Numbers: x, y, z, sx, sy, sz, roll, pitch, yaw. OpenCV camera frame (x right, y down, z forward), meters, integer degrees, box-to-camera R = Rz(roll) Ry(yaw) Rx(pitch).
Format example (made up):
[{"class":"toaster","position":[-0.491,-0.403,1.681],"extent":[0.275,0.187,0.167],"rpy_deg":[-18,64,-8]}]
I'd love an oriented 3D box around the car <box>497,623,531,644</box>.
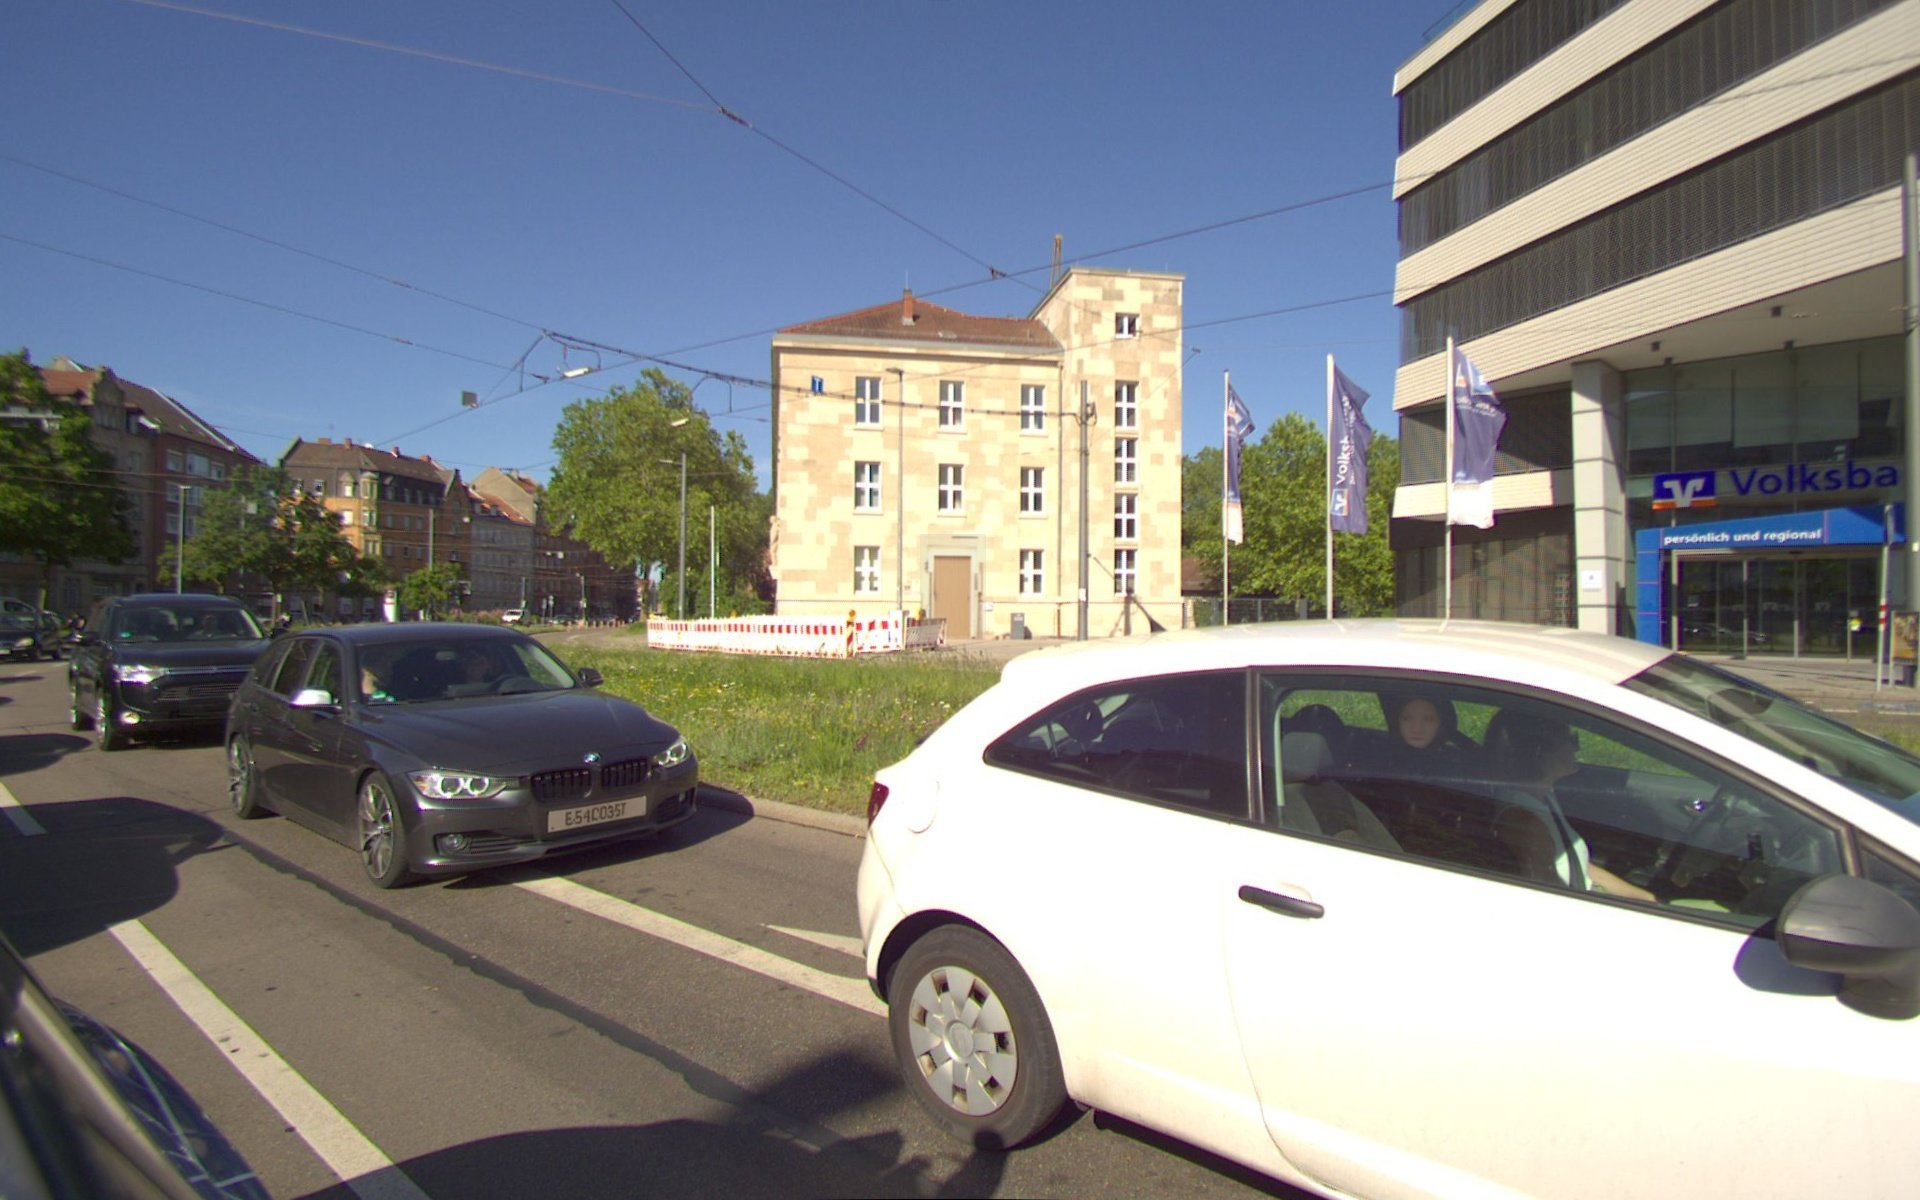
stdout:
[{"class":"car","position":[-47.820,3.555,108.576],"extent":[1.953,2.101,4.719],"rpy_deg":[1,-1,-5]}]

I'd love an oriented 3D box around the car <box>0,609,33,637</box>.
[{"class":"car","position":[-48.764,1.143,50.386],"extent":[3.768,1.390,1.602],"rpy_deg":[2,-2,-41]}]

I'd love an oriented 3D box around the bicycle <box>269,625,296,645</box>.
[{"class":"bicycle","position":[-42.635,2.179,63.718],"extent":[0.658,1.206,2.160],"rpy_deg":[0,-1,-13]}]

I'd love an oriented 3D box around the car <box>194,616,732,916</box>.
[{"class":"car","position":[-3.597,0.824,6.881],"extent":[4.424,1.377,1.719],"rpy_deg":[-1,0,41]}]

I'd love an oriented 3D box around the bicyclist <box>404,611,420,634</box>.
[{"class":"bicyclist","position":[-47.869,1.945,88.428],"extent":[0.836,2.029,1.198],"rpy_deg":[0,-1,-9]}]

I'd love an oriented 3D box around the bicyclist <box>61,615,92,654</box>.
[{"class":"bicyclist","position":[-38.218,1.479,43.783],"extent":[0.620,1.641,0.974],"rpy_deg":[0,-1,-17]}]

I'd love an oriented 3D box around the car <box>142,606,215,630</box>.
[{"class":"car","position":[-53.931,1.263,69.874],"extent":[3.771,1.603,1.601],"rpy_deg":[2,-2,-44]}]

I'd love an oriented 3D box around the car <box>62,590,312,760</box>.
[{"class":"car","position":[-9.380,0.769,12.131],"extent":[1.817,1.658,4.400],"rpy_deg":[-1,-1,-45]}]

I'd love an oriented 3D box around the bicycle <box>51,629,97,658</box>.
[{"class":"bicycle","position":[-38.168,1.847,43.630],"extent":[0.627,1.206,2.161],"rpy_deg":[0,-1,-17]}]

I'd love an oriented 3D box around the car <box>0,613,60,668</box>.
[{"class":"car","position":[-30.157,1.248,32.252],"extent":[1.811,1.659,4.158],"rpy_deg":[2,-2,-37]}]

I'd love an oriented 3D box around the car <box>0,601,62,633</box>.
[{"class":"car","position":[-49.930,0.882,52.792],"extent":[4.514,1.680,1.601],"rpy_deg":[2,-2,-43]}]

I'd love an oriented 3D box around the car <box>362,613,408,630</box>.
[{"class":"car","position":[-65.763,2.460,115.821],"extent":[4.276,1.896,1.846],"rpy_deg":[1,-1,-15]}]

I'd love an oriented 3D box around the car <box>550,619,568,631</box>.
[{"class":"car","position":[-50.537,3.136,127.490],"extent":[1.809,1.483,4.728],"rpy_deg":[1,-1,-19]}]

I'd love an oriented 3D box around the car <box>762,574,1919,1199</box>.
[{"class":"car","position":[1.482,0.691,2.481],"extent":[4.020,1.452,1.714],"rpy_deg":[0,2,40]}]

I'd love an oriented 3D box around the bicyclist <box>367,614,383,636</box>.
[{"class":"bicyclist","position":[-45.785,1.917,79.161],"extent":[0.724,1.707,0.972],"rpy_deg":[0,-1,-6]}]

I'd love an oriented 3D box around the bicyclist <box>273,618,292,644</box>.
[{"class":"bicyclist","position":[-42.647,1.937,63.722],"extent":[0.658,1.641,0.974],"rpy_deg":[0,-1,-12]}]

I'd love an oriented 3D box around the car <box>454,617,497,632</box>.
[{"class":"car","position":[-55.320,2.766,115.653],"extent":[4.006,1.669,1.770],"rpy_deg":[1,-1,-8]}]

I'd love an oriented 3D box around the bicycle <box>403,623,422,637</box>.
[{"class":"bicycle","position":[-47.804,2.633,88.383],"extent":[0.752,1.153,2.288],"rpy_deg":[0,-1,-10]}]

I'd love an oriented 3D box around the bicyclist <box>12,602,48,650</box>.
[{"class":"bicyclist","position":[-37.031,1.017,40.301],"extent":[0.796,1.880,0.752],"rpy_deg":[1,0,-23]}]

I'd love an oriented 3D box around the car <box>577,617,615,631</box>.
[{"class":"car","position":[-42.803,2.824,119.122],"extent":[4.001,1.669,1.772],"rpy_deg":[1,-1,-16]}]

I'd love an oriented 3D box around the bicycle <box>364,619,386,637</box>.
[{"class":"bicycle","position":[-45.767,2.207,79.204],"extent":[0.726,1.371,2.078],"rpy_deg":[0,-1,-6]}]
